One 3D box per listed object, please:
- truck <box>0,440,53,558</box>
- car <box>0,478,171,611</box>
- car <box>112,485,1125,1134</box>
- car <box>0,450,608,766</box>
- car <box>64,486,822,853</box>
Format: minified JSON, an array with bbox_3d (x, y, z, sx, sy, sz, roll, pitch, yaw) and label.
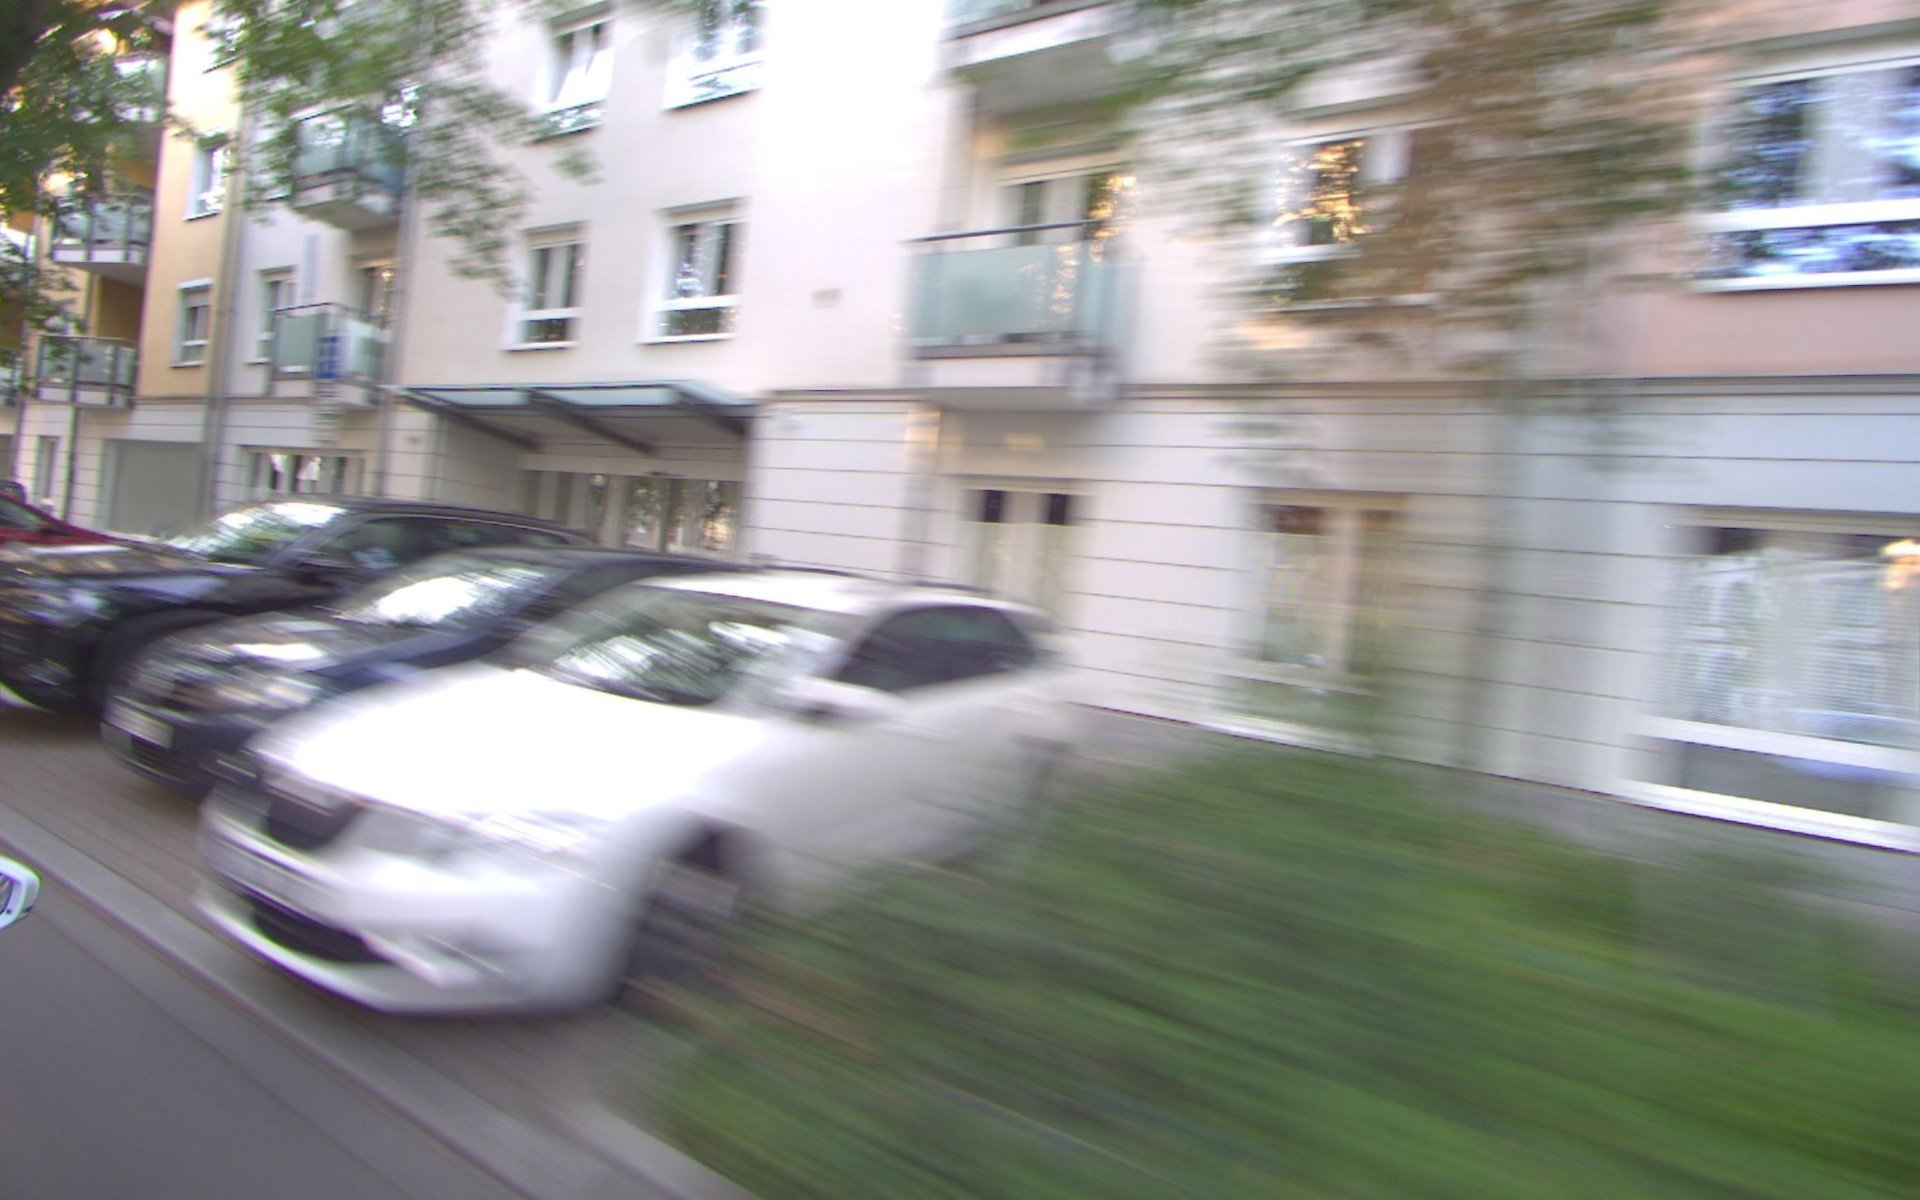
[{"bbox_3d":[-19.988,-2.006,17.404,2.223,2.162,6.001,7,3,32],"label":"truck"},{"bbox_3d":[-12.118,-0.718,12.155,1.751,1.569,3.665,5,2,30],"label":"car"},{"bbox_3d":[-0.932,0.540,4.919,1.743,1.573,4.573,7,2,31],"label":"car"},{"bbox_3d":[-5.117,-0.009,7.880,1.861,1.726,4.390,6,2,24],"label":"car"},{"bbox_3d":[-2.909,0.309,6.501,1.699,1.546,3.985,7,2,33],"label":"car"}]
